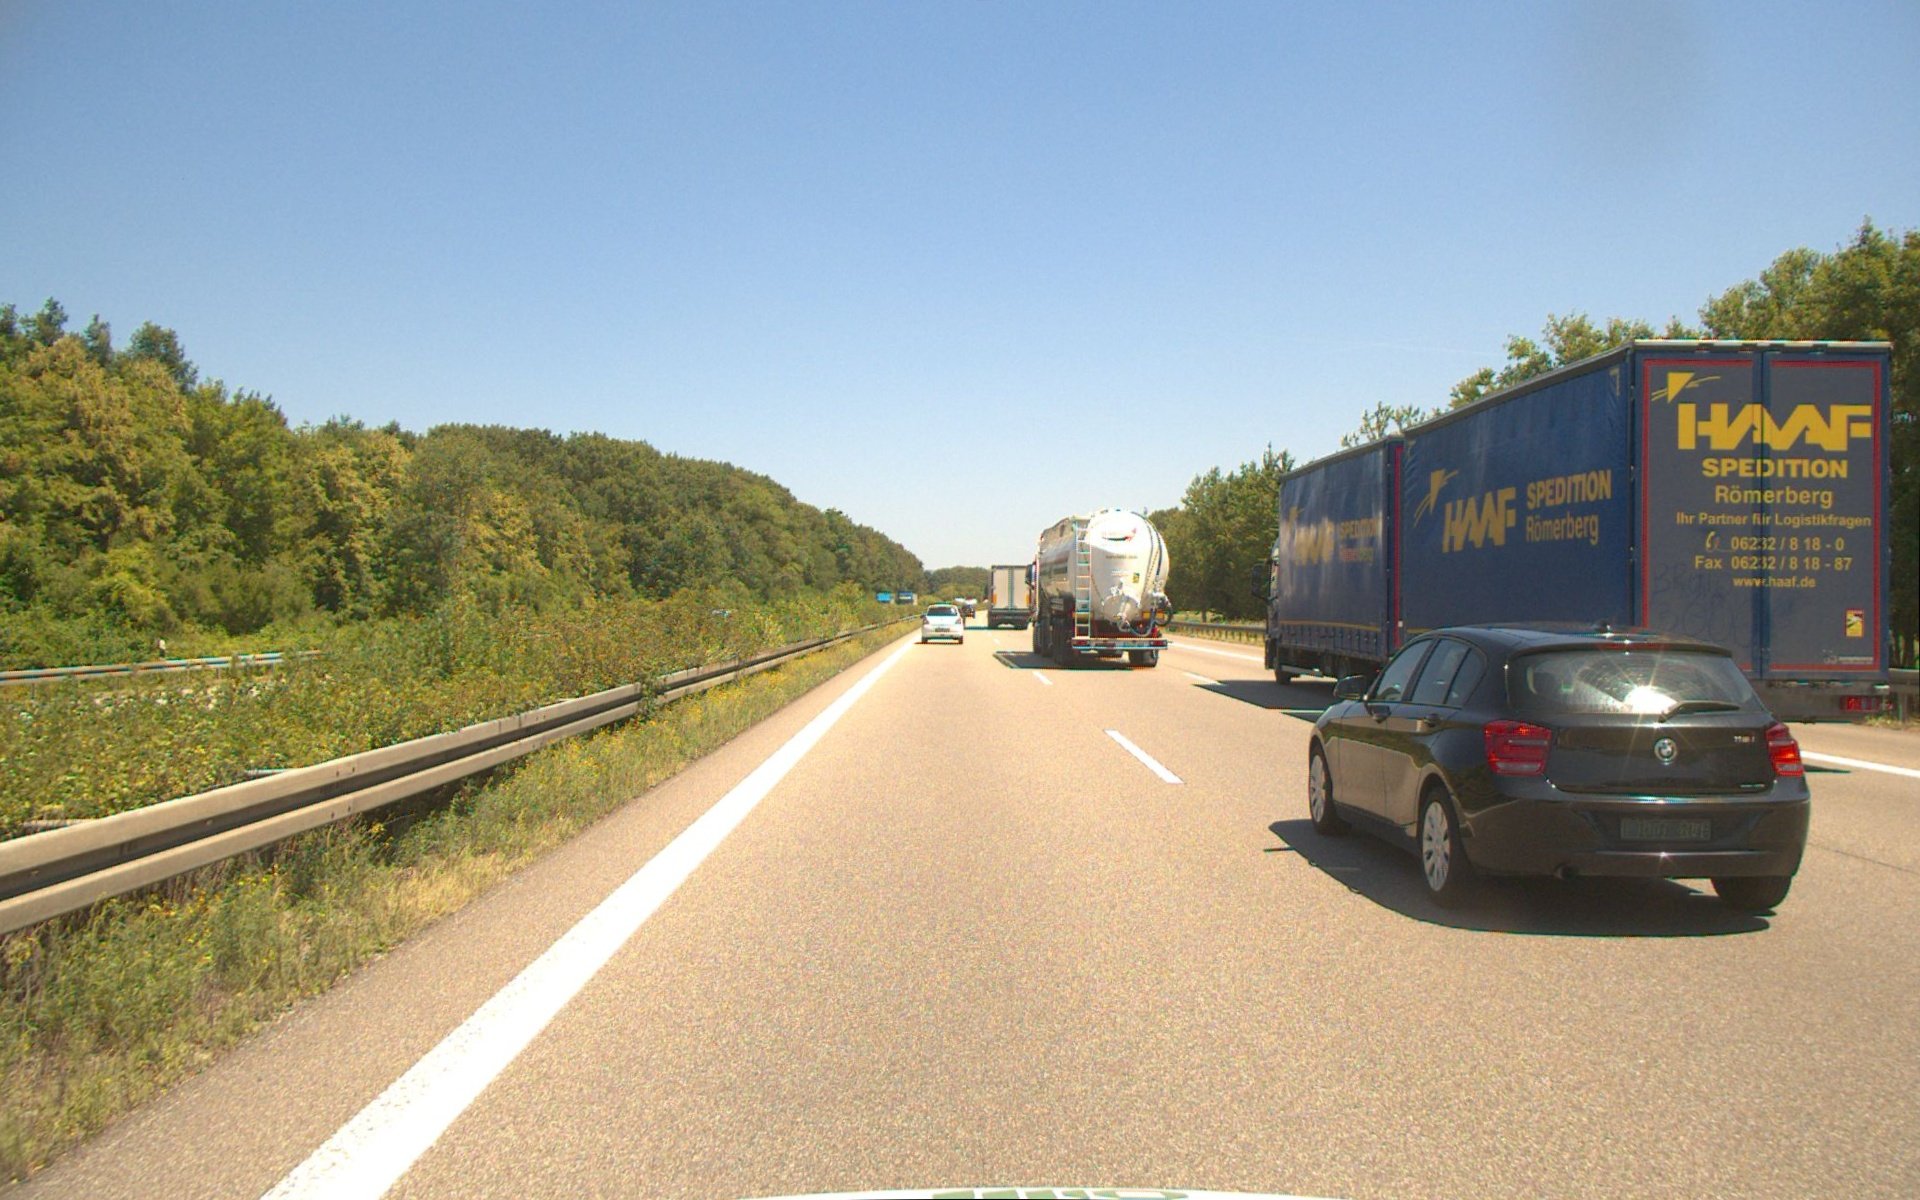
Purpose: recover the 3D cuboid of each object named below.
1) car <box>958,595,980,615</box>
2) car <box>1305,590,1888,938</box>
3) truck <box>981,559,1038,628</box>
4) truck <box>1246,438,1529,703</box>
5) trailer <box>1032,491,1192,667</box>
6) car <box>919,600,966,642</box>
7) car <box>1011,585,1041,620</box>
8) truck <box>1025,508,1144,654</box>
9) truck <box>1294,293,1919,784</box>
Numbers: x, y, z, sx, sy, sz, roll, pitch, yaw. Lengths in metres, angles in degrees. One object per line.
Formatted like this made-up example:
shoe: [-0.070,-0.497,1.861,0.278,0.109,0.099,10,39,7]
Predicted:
car: [1.060,0.603,198.399,2.425,2.395,5.181,1,0,-1]
car: [3.301,0.738,9.474,1.812,1.549,3.957,1,0,0]
truck: [3.202,-0.426,110.251,3.325,4.287,12.081,1,0,-1]
truck: [7.557,-0.481,30.576,3.045,4.211,8.055,1,0,-1]
trailer: [3.884,-0.515,45.362,2.853,4.140,12.414,1,0,-2]
car: [-0.725,0.824,65.998,1.763,1.579,3.608,1,0,-2]
car: [6.321,0.213,158.951,2.615,3.245,5.566,1,0,-1]
truck: [3.727,-0.564,51.203,2.853,4.150,7.192,1,0,-2]
truck: [7.633,-0.551,22.054,3.045,4.211,15.509,1,0,-1]
